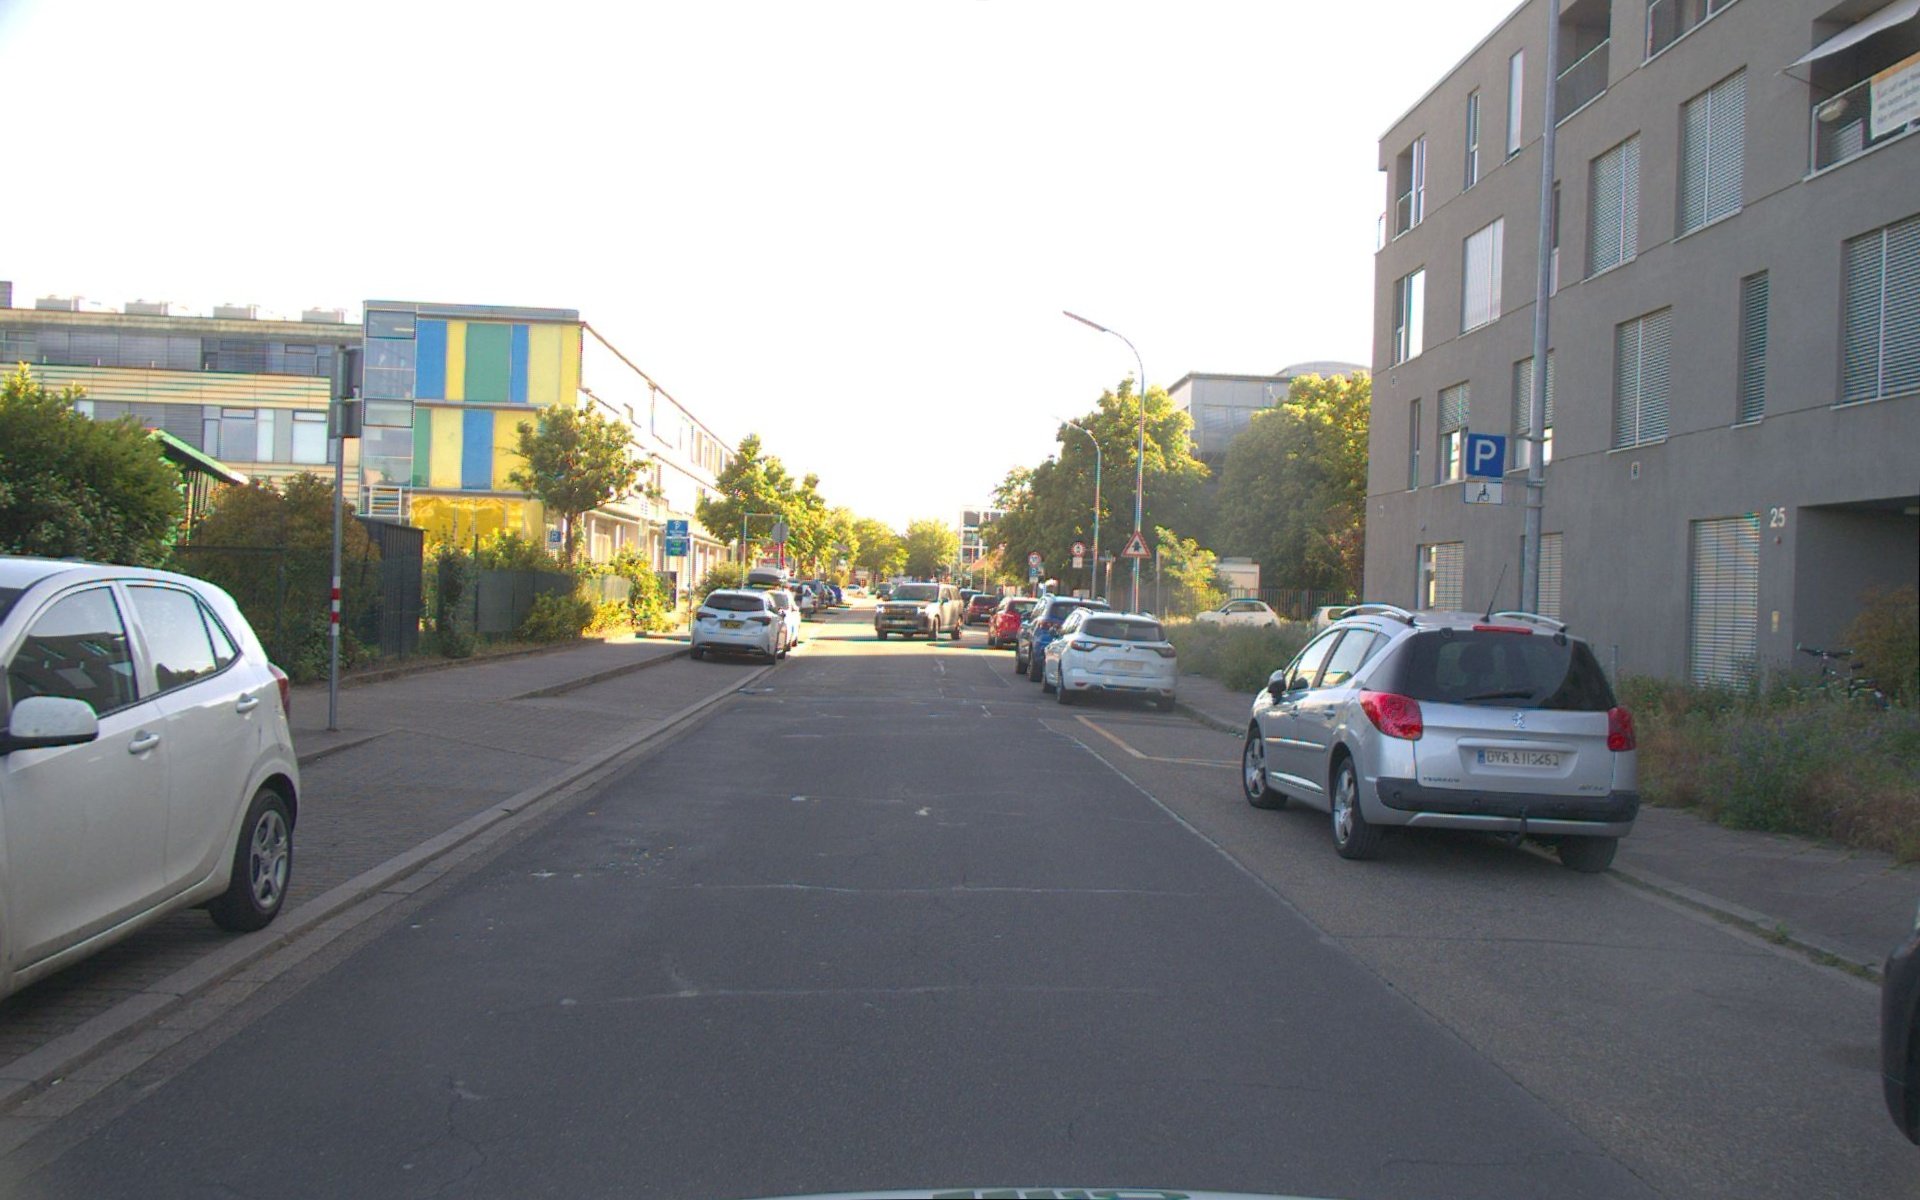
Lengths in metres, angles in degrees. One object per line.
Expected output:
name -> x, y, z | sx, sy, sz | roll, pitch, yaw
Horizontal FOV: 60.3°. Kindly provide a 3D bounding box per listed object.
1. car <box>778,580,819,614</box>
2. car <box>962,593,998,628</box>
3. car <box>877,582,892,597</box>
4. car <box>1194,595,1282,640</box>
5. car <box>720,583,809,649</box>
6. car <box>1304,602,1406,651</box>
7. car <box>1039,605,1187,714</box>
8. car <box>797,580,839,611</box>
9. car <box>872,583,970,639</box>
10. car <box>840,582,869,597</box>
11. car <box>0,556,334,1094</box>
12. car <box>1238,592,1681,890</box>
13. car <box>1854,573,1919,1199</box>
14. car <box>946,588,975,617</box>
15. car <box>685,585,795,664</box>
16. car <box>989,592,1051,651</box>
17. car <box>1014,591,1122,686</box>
car -> -8.344, -0.168, 85.863 | 1.817, 1.590, 4.132 | 4, 0, -2
car -> 0.971, 0.504, 80.738 | 1.416, 1.576, 3.612 | 4, 0, -3
car -> -8.764, -1.231, 192.078 | 1.631, 1.576, 3.899 | 4, 0, -3
car -> 10.950, 0.678, 65.313 | 3.150, 1.576, 1.450 | 4, 0, 0
car -> -4.844, 0.376, 41.448 | 1.817, 1.453, 4.132 | 4, 0, -2
car -> 13.668, 0.900, 57.324 | 3.150, 1.486, 1.450 | 4, 0, 0
car -> 2.326, 0.867, 26.134 | 1.707, 1.453, 4.132 | 4, 0, -2
car -> -8.060, -0.235, 94.156 | 1.816, 1.590, 4.135 | 4, 0, 2
car -> -1.152, 0.358, 51.444 | 1.805, 1.573, 4.196 | 4, 0, 16
car -> -13.312, -1.318, 209.052 | 3.534, 1.576, 1.447 | 4, 0, -8
car -> -3.490, 0.612, 5.440 | 1.528, 1.521, 3.757 | 2, 0, -2
car -> 3.137, 0.785, 11.217 | 1.624, 1.578, 3.849 | 4, 0, -2
car -> 3.332, 0.819, 2.330 | 1.707, 1.653, 4.177 | 4, 0, -2
car -> 0.010, 0.121, 96.708 | 1.416, 1.576, 3.612 | 4, 0, -3
car -> -4.548, 0.476, 34.715 | 1.817, 1.453, 4.132 | 4, 0, -2
car -> 1.724, 0.607, 48.539 | 1.416, 1.576, 3.612 | 4, 0, -3
car -> 2.045, 0.697, 32.134 | 1.600, 1.658, 3.612 | 4, 0, -3
